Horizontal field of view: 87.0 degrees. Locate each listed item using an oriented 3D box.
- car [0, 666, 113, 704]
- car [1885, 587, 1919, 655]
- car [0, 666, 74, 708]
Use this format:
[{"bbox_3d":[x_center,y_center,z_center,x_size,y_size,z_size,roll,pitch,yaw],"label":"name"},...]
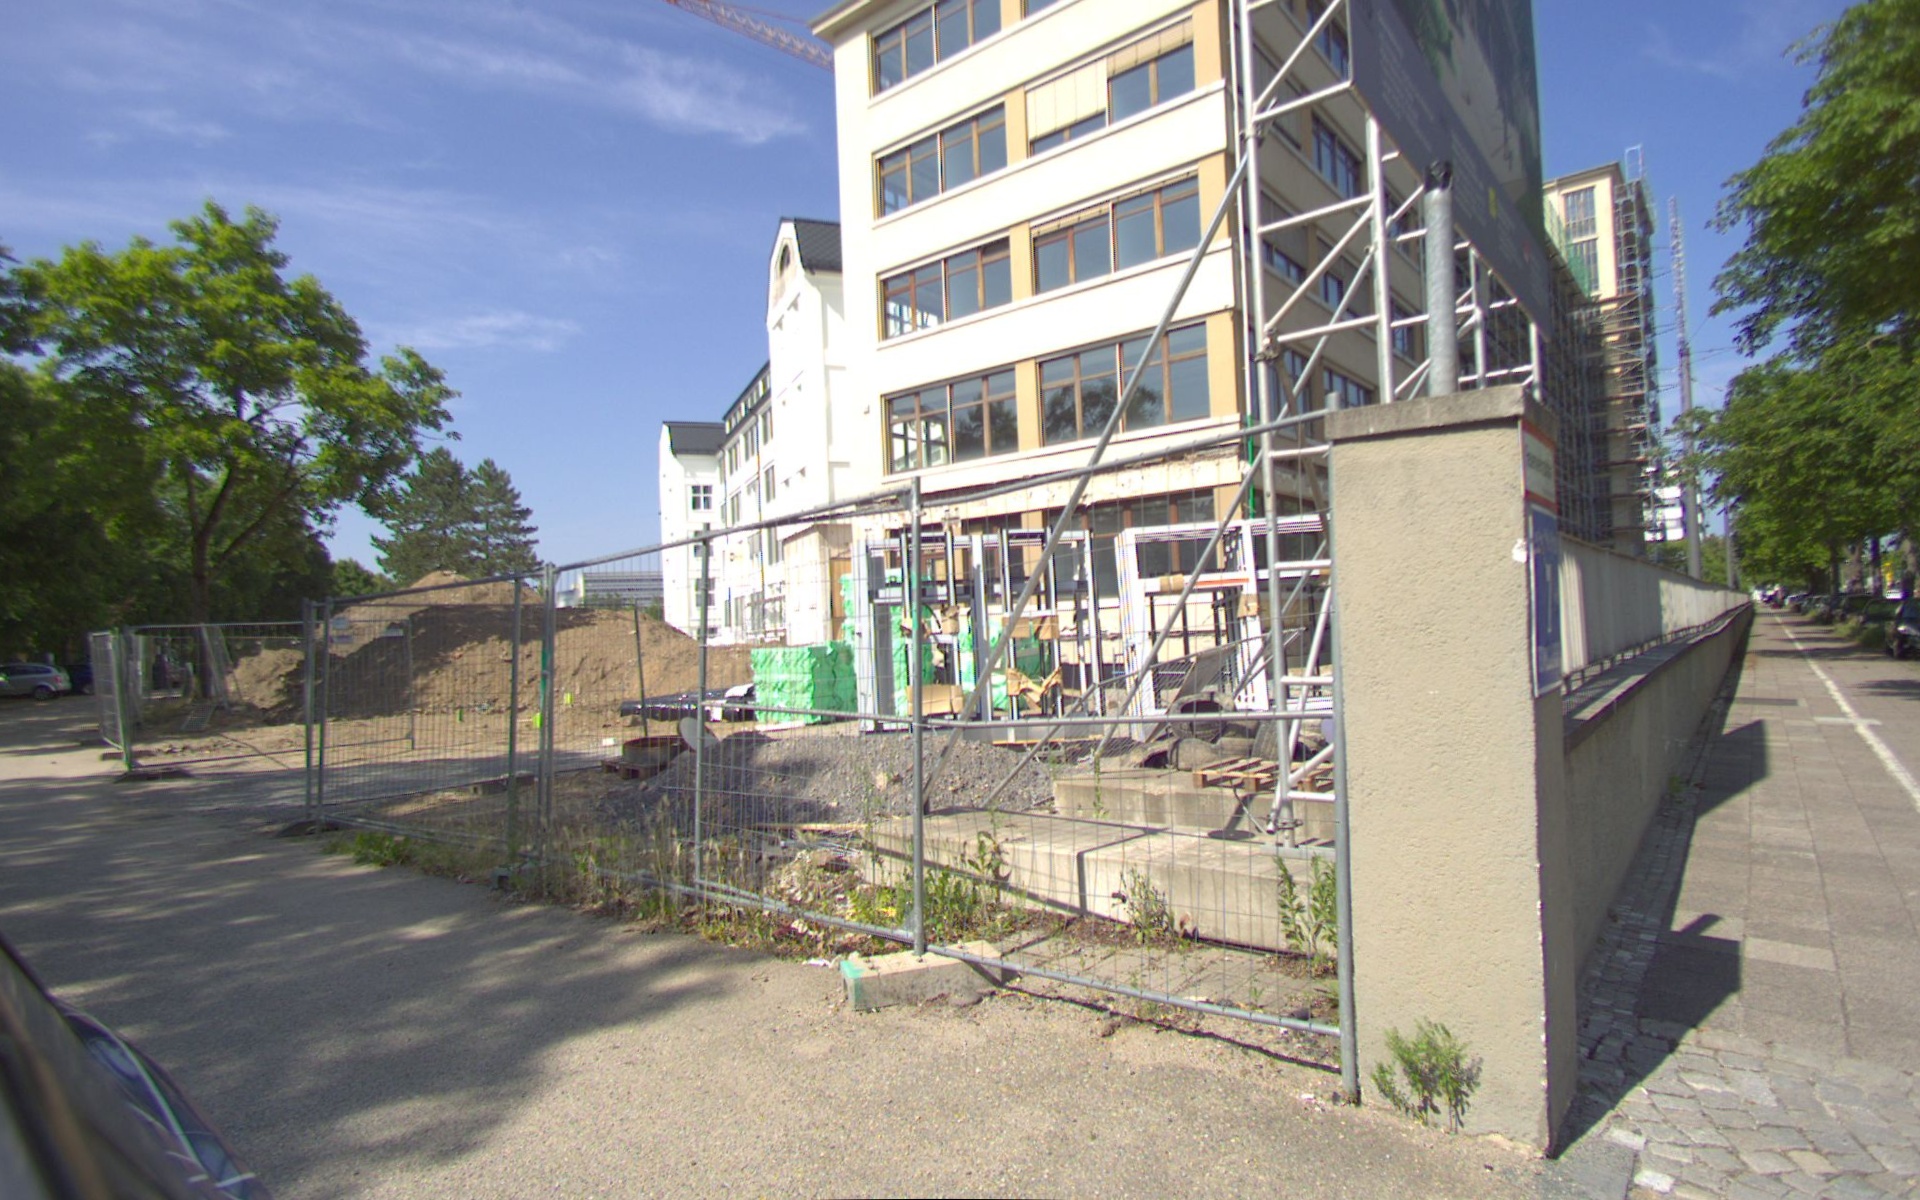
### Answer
[{"bbox_3d":[-40.667,3.793,45.285,3.932,1.453,2.006,-1,-2,-31],"label":"car"},{"bbox_3d":[22.668,0.422,23.173,1.819,1.464,3.949,-4,-2,38],"label":"car"},{"bbox_3d":[-38.246,3.515,40.463,3.932,1.519,2.006,-1,-2,-31],"label":"car"}]
